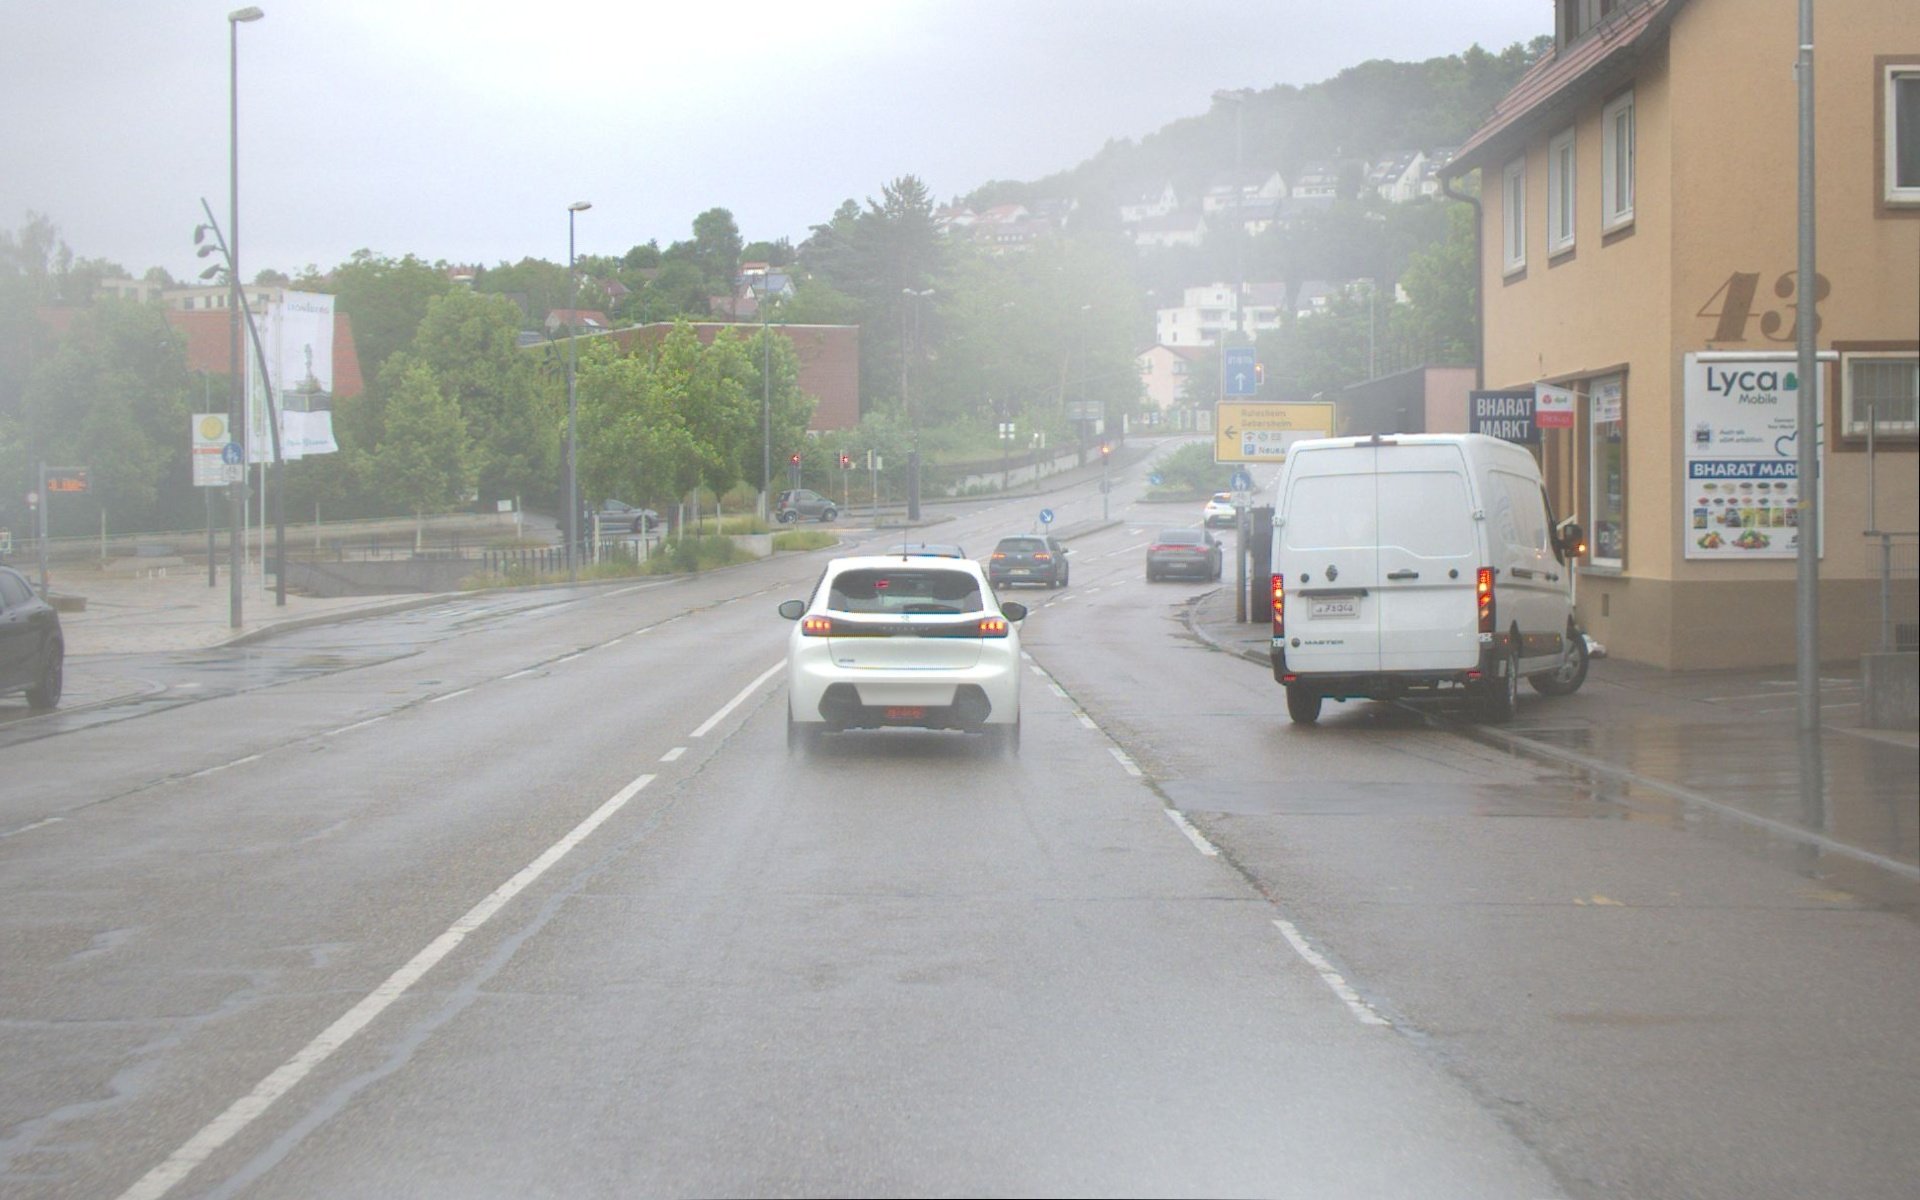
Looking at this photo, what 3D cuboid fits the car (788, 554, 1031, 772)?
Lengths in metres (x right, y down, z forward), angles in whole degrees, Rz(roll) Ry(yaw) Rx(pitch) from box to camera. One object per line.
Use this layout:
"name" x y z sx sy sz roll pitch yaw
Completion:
"car" -0.368 0.429 26.180 1.691 1.514 3.933 -1 0 0

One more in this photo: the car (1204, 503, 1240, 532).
"car" 10.995 -3.476 144.434 1.385 1.123 2.610 -1 0 2

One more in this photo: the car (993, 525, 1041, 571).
"car" 1.506 -1.363 90.959 1.213 1.152 2.270 -1 0 0

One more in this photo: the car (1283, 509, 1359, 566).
"car" 10.498 -1.838 99.705 1.731 1.492 4.478 -2 2 12

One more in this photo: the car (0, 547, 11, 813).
"car" -6.433 0.467 17.758 1.880 1.518 4.184 -1 0 0

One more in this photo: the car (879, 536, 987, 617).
"car" -0.447 -0.411 57.843 1.741 1.291 3.334 -1 1 0

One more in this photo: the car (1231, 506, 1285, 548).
"car" 11.176 -2.732 129.190 1.647 1.480 3.366 -1 0 -1

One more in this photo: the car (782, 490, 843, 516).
"car" -6.746 -4.441 157.579 2.418 1.153 1.371 -1 0 -28

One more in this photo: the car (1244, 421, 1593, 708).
"car" 4.450 -0.293 32.264 2.292 2.374 6.620 -1 0 16

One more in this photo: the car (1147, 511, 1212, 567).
"car" 6.291 -1.766 98.971 1.734 1.383 3.353 1 4 2

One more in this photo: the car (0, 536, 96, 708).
"car" -9.731 0.193 33.334 1.587 1.577 4.471 -1 1 -1
